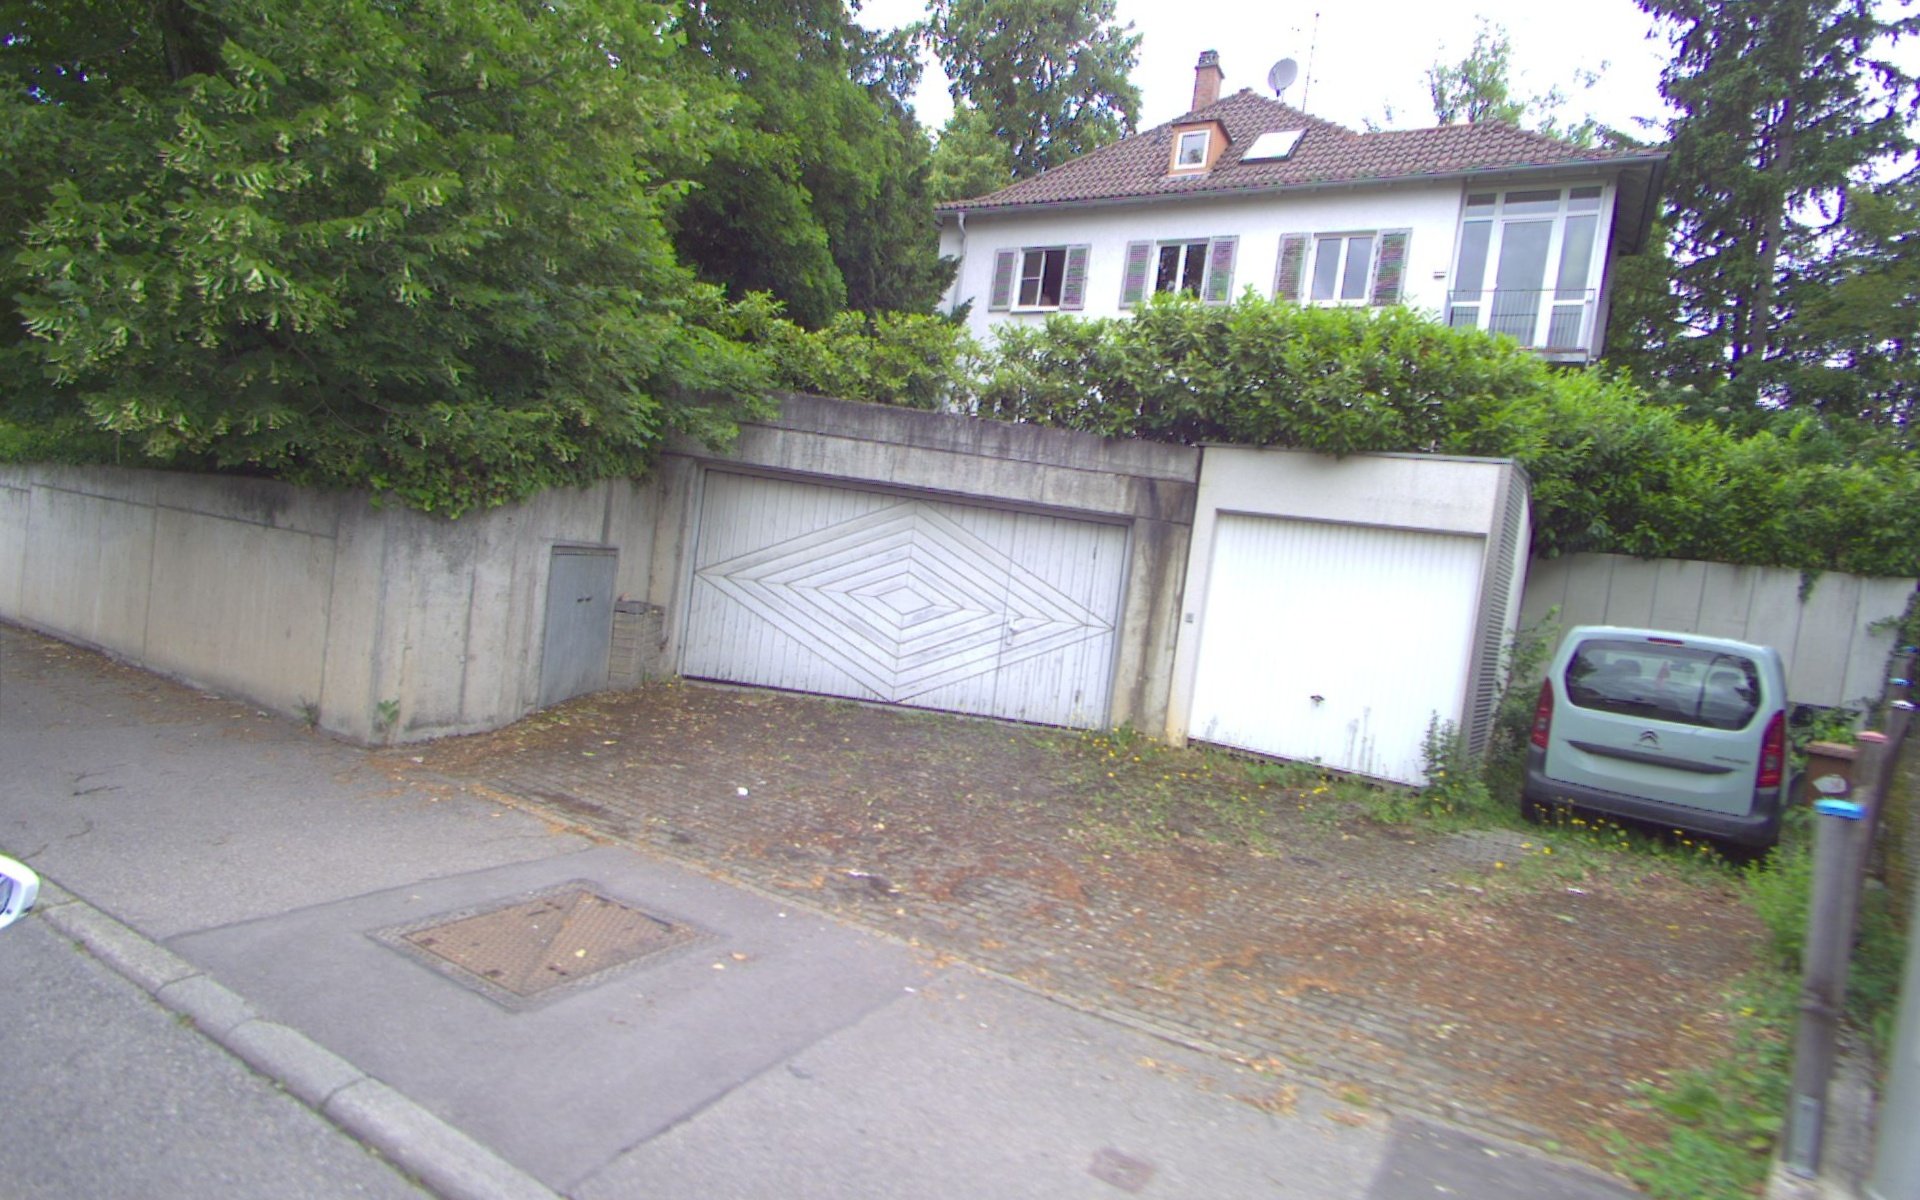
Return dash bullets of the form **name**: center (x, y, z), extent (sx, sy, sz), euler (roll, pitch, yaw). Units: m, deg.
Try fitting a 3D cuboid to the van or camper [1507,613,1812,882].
- **van or camper**: center (6.541, 1.218, 9.307), extent (1.765, 1.768, 3.983), euler (7, 0, 39)
